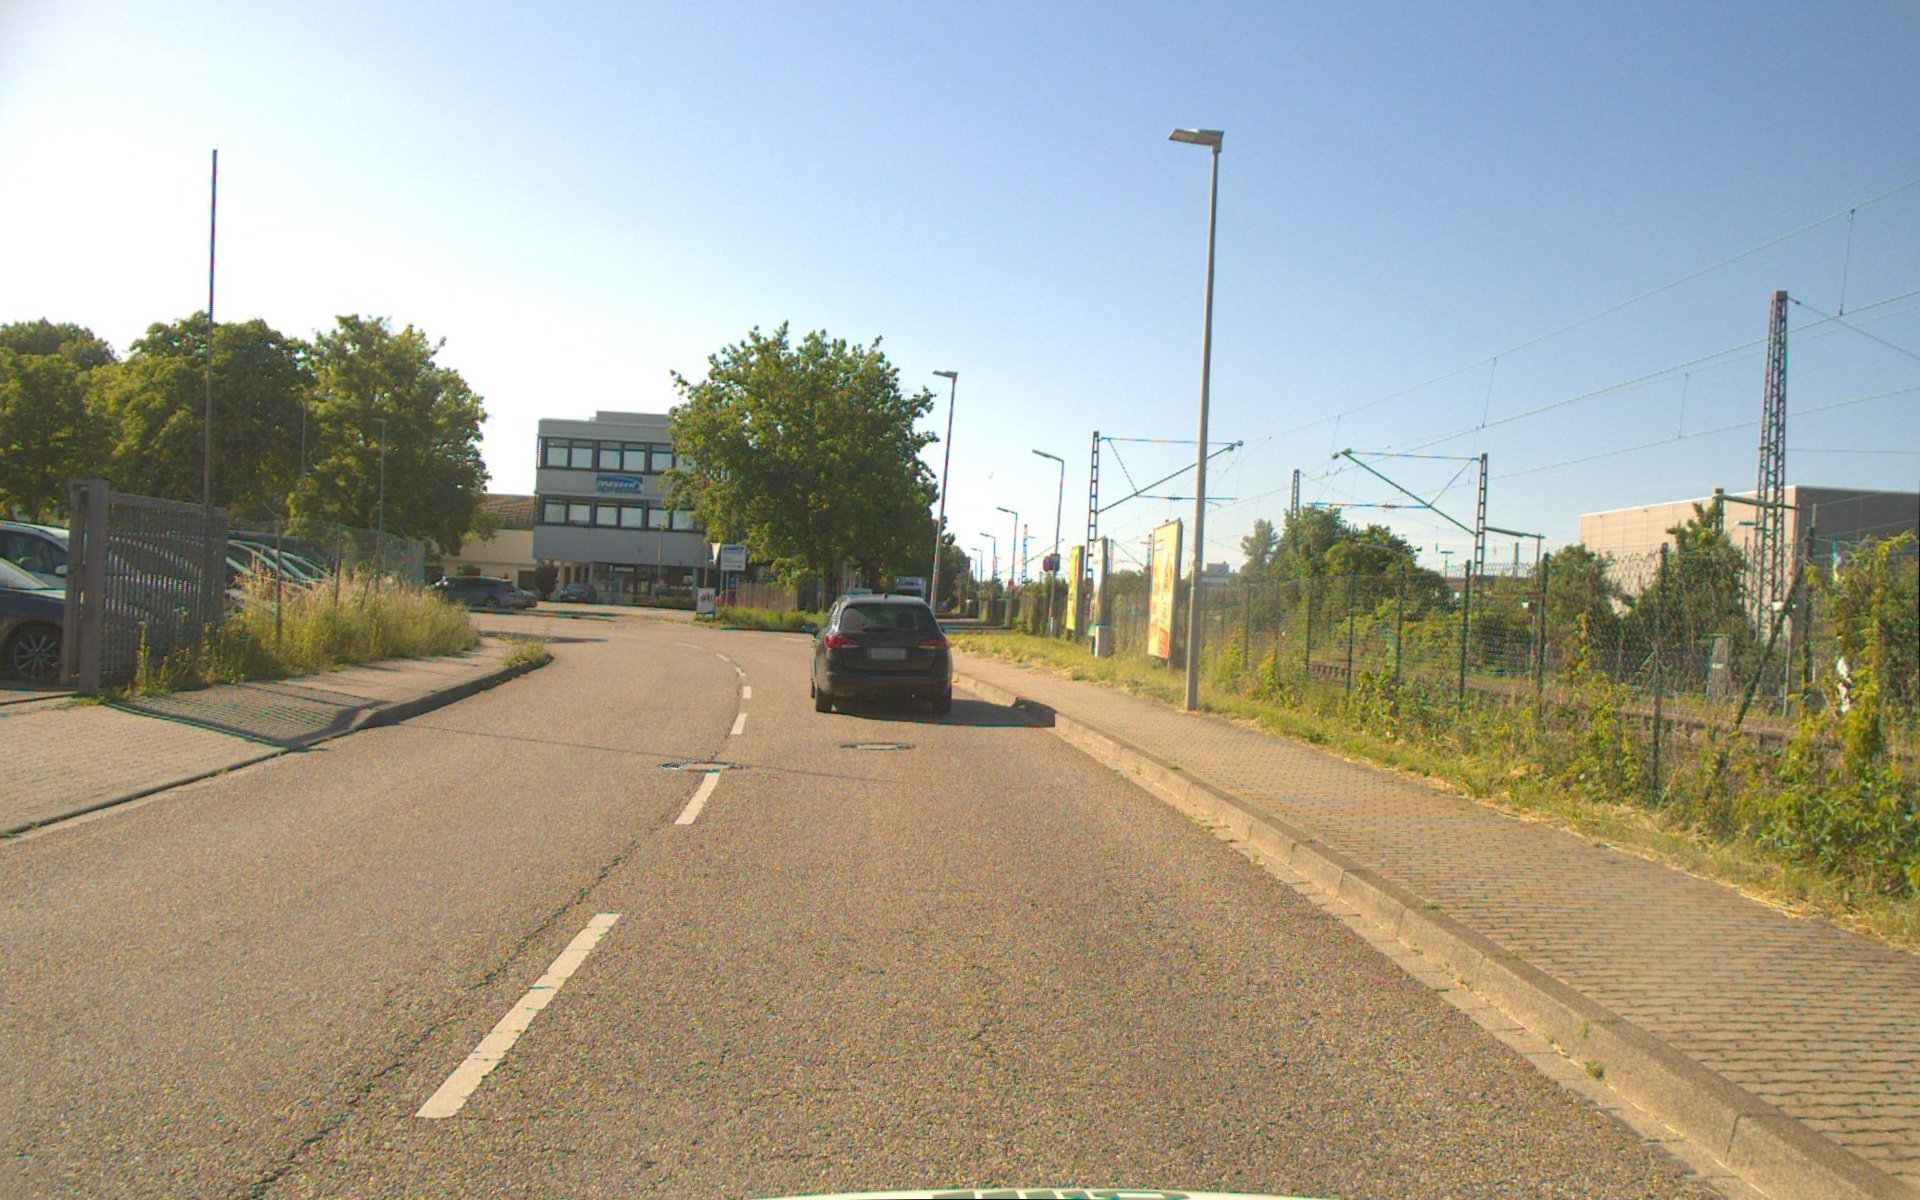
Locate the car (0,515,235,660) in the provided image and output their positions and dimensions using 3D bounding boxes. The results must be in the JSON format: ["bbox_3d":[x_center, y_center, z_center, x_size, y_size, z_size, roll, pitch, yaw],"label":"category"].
[{"bbox_3d":[-11.814,-0.205,21.093,4.311,1.677,1.836,3,0,-11],"label":"car"}]

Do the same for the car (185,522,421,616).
[{"bbox_3d":[-15.310,-0.693,38.674,4.799,1.925,1.817,3,0,-37],"label":"car"}]

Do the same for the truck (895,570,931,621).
[{"bbox_3d":[-4.019,-0.348,139.051,2.561,3.952,13.525,4,0,-2],"label":"truck"}]

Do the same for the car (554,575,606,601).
[{"bbox_3d":[-24.277,-0.787,105.912,1.952,1.510,4.928,3,1,2],"label":"car"}]

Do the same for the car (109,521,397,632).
[{"bbox_3d":[-12.311,-0.383,28.873,4.348,1.677,1.820,3,0,-33],"label":"car"}]

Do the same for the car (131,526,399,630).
[{"bbox_3d":[-12.989,-0.389,30.986,4.348,1.677,1.820,3,0,-33],"label":"car"}]

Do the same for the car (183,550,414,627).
[{"bbox_3d":[-14.486,-0.236,36.324,4.357,1.461,1.816,3,0,-38],"label":"car"}]

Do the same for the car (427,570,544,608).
[{"bbox_3d":[-22.049,-0.521,77.043,4.811,1.510,1.999,3,0,-1],"label":"car"}]

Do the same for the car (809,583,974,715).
[{"bbox_3d":[-1.021,0.567,22.137,1.905,1.514,4.560,2,1,-6],"label":"car"}]

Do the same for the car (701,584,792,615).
[{"bbox_3d":[-12.187,-0.048,94.612,4.808,1.510,2.001,3,1,4],"label":"car"}]

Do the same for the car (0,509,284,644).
[{"bbox_3d":[-12.065,-0.341,23.378,4.314,1.677,1.834,3,0,-13],"label":"car"}]

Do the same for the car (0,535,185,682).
[{"bbox_3d":[-11.334,0.019,18.609,4.307,1.533,1.837,3,0,-8],"label":"car"}]

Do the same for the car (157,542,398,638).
[{"bbox_3d":[-13.714,-0.191,33.464,4.326,1.677,1.829,3,0,-21],"label":"car"}]

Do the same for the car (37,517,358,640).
[{"bbox_3d":[-12.000,-0.317,26.346,4.318,1.677,1.833,3,0,-16],"label":"car"}]

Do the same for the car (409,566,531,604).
[{"bbox_3d":[-22.016,-0.674,74.441,4.811,1.451,1.999,3,0,-1],"label":"car"}]
